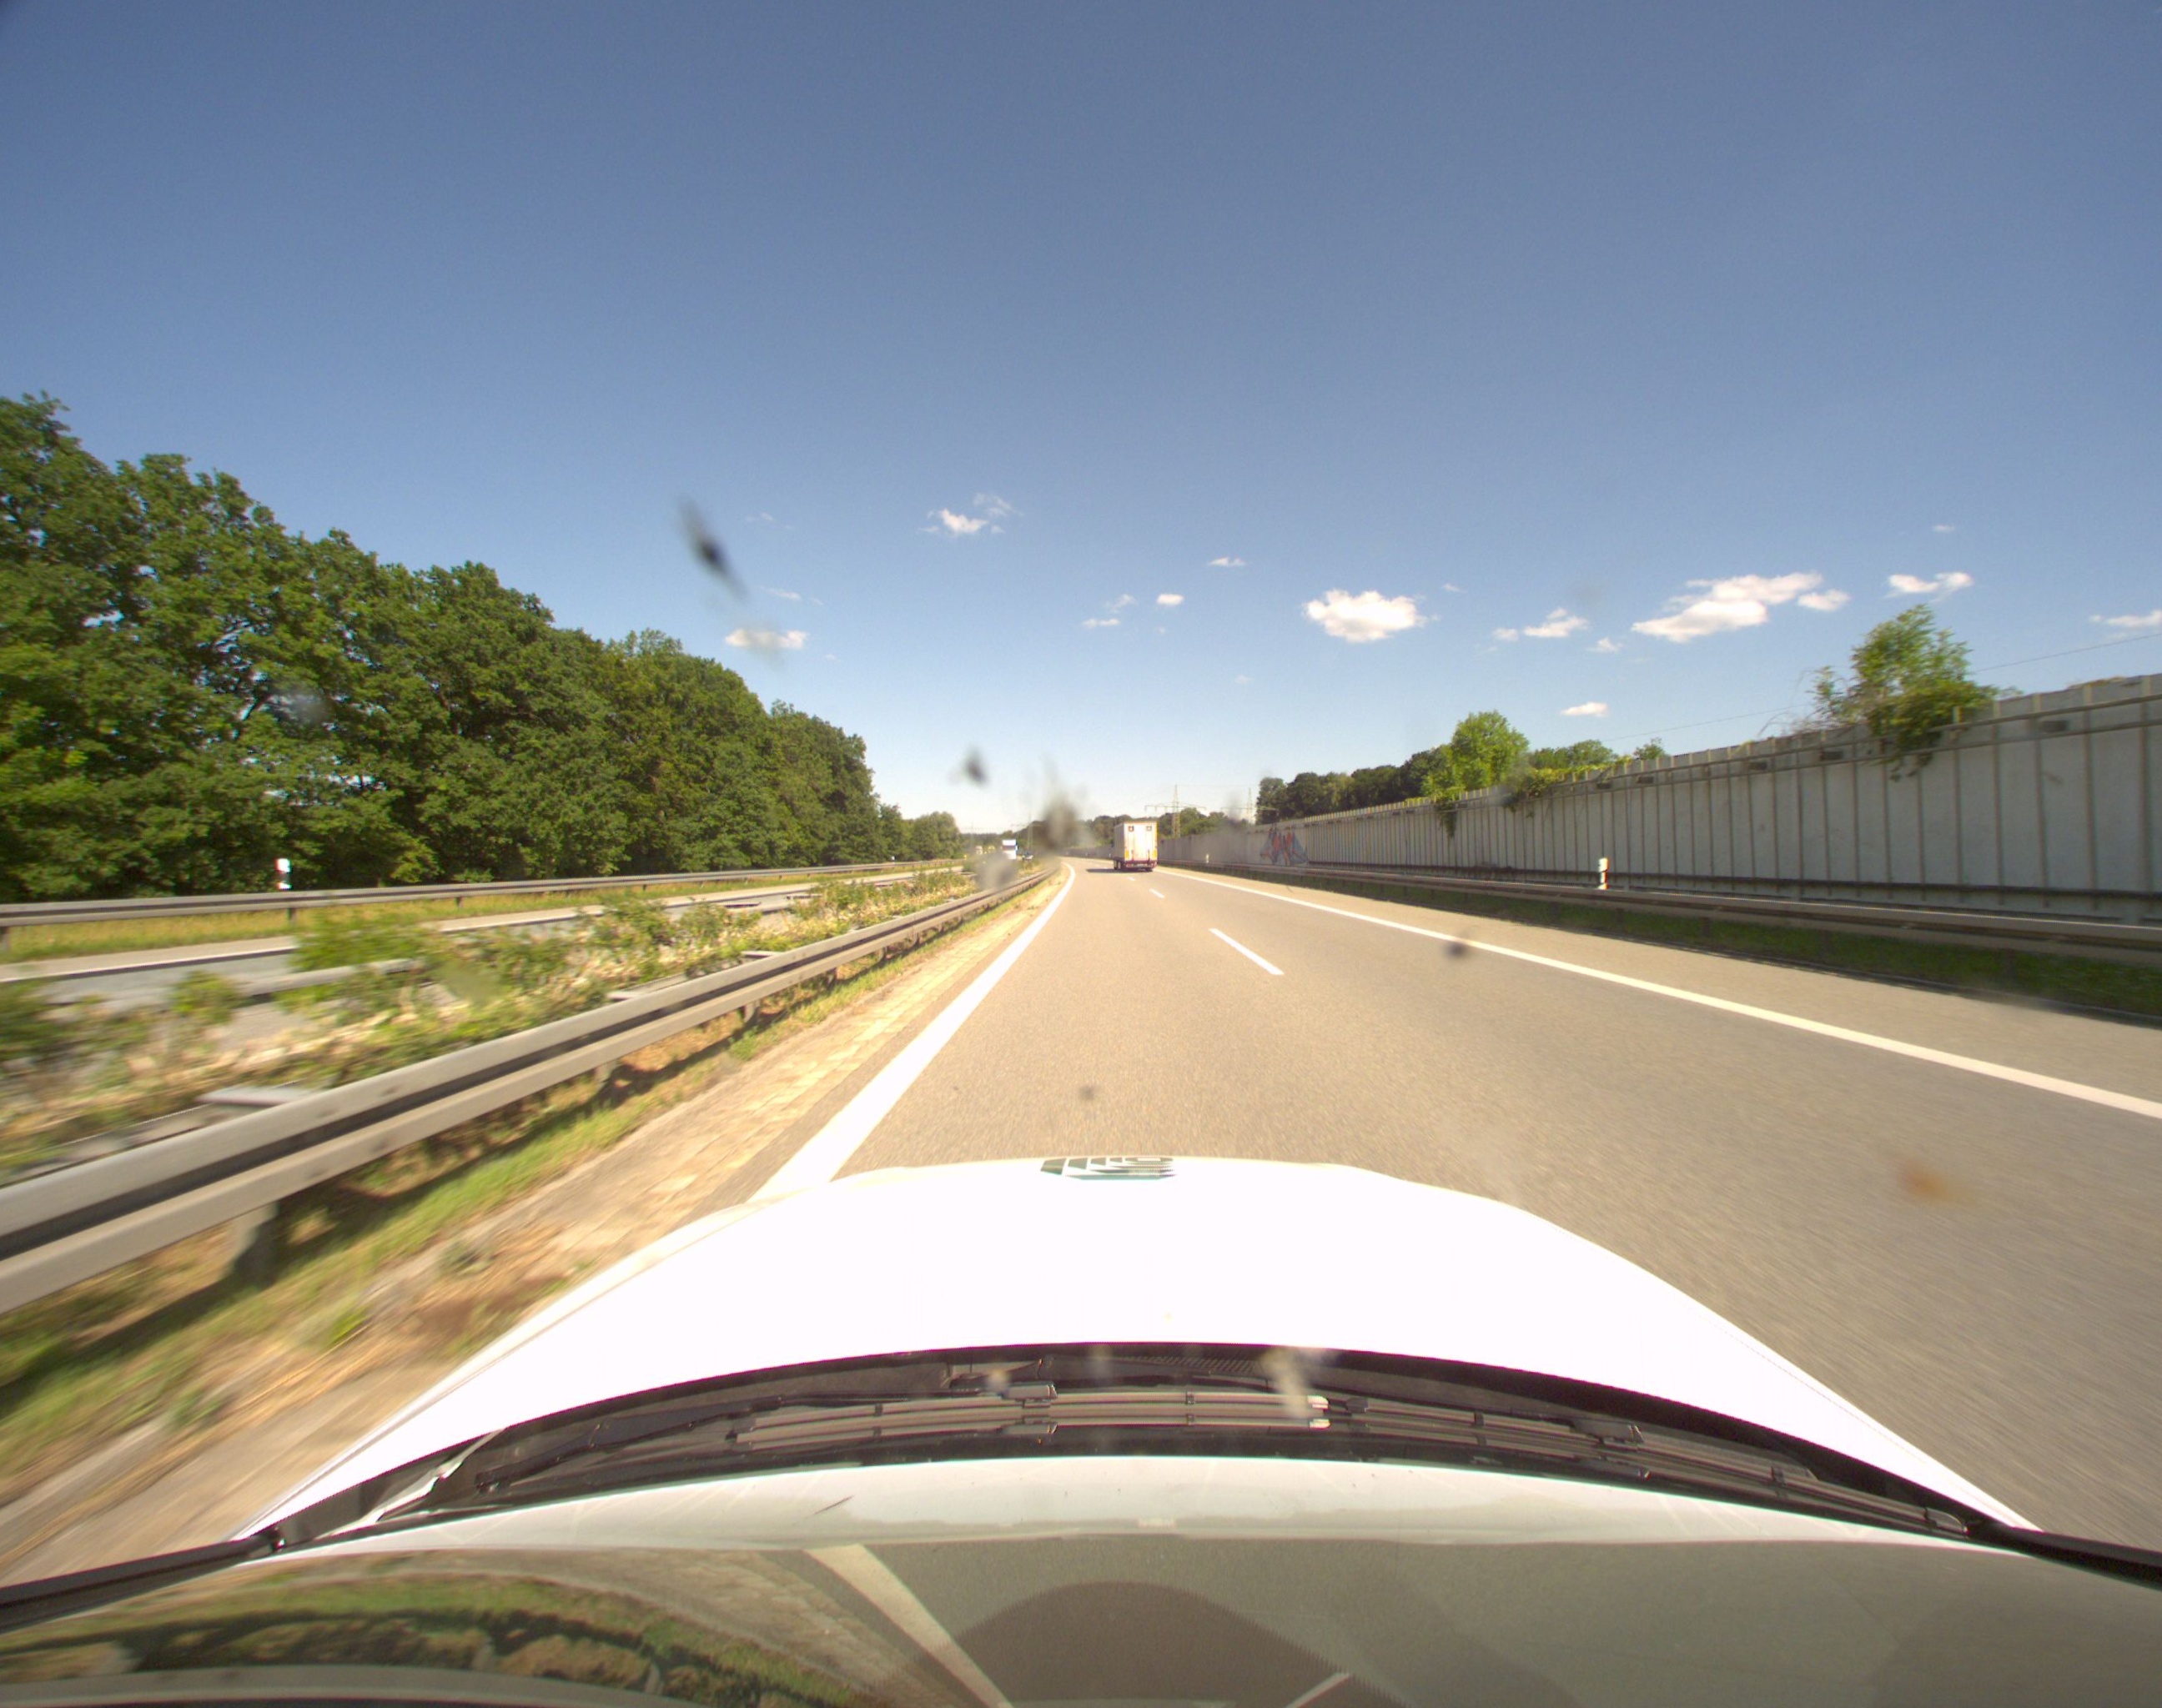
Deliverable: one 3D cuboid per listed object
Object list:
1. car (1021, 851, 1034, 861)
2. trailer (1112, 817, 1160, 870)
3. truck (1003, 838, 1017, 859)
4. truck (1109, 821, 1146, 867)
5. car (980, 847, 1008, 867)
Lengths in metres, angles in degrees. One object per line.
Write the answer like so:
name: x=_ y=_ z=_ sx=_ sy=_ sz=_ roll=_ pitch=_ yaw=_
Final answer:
car: x=-8.580 y=0.274 z=131.971 sx=1.837 sy=1.606 sz=3.999 roll=-1 pitch=0 yaw=0
trailer: x=4.495 y=-0.765 z=69.419 sx=2.876 sy=4.066 sz=12.411 roll=-1 pitch=0 yaw=-2
truck: x=-13.363 y=-0.934 z=153.640 sx=2.621 sy=3.839 sz=6.797 roll=-1 pitch=0 yaw=-5
truck: x=4.265 y=-0.870 z=75.543 sx=2.823 sy=4.012 sz=6.582 roll=-1 pitch=0 yaw=-2
car: x=-6.670 y=0.193 z=62.780 sx=1.654 sy=1.450 sz=4.245 roll=-2 pitch=0 yaw=-1
